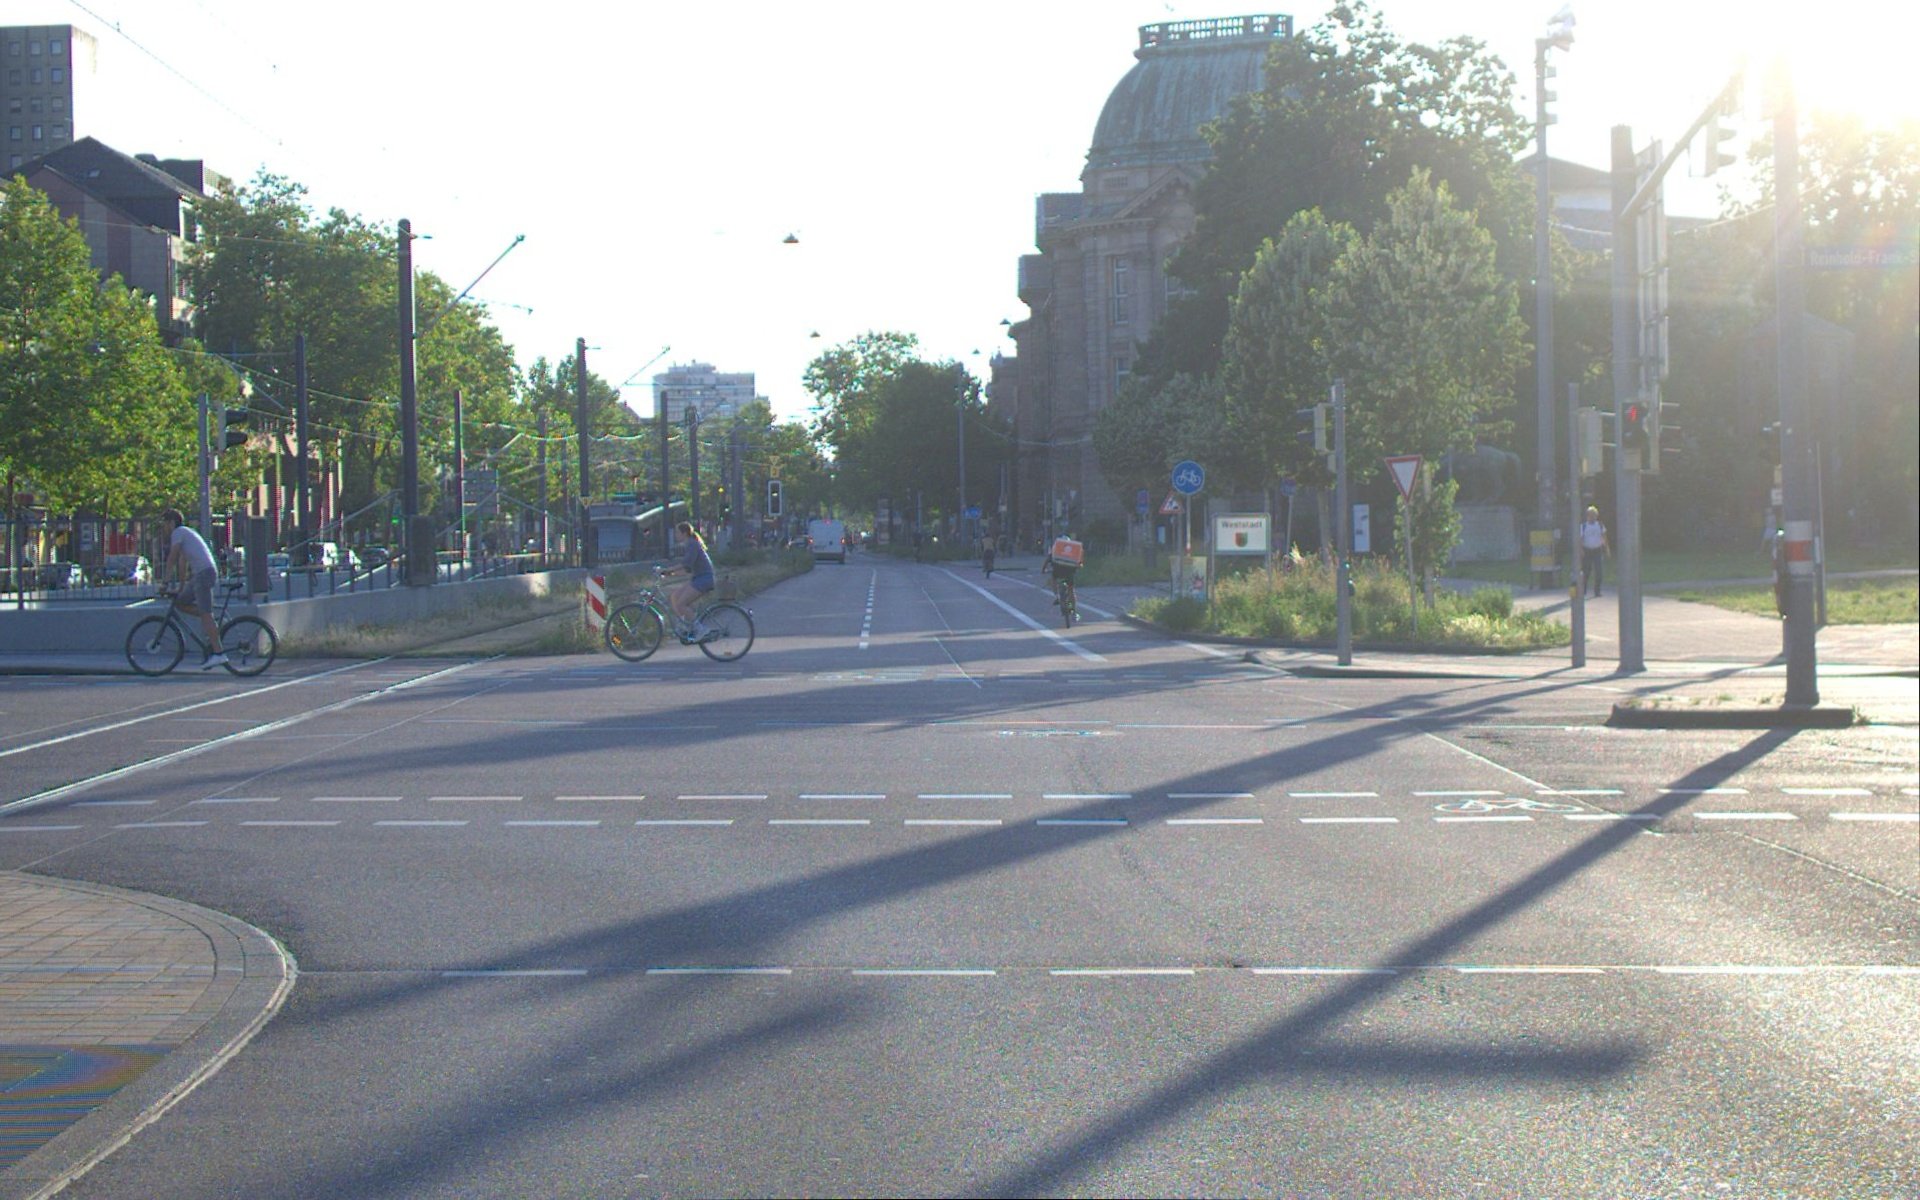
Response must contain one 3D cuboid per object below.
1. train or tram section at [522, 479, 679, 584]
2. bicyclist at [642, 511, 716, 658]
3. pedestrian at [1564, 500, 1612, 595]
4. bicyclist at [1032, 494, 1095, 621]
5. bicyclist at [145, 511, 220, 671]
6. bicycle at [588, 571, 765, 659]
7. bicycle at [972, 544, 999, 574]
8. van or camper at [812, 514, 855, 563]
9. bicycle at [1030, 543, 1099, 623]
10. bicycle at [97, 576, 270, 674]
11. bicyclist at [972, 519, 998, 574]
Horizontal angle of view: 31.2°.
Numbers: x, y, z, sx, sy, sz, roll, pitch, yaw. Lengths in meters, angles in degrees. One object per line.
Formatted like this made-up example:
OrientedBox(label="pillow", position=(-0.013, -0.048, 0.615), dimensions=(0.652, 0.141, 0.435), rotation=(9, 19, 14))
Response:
OrientedBox(label="train or tram section", position=(-14.636, -2.895, 141.089), dimensions=(4.387, 3.836, 11.410), rotation=(-1, 3, 4))
OrientedBox(label="bicyclist", position=(-3.497, -0.199, 42.762), dimensions=(0.876, 1.812, 0.538), rotation=(-1, 1, -2))
OrientedBox(label="pedestrian", position=(12.112, -1.014, 66.260), dimensions=(0.833, 1.797, 0.810), rotation=(-1, 1, 15))
OrientedBox(label="bicyclist", position=(1.866, -0.767, 61.924), dimensions=(1.082, 2.268, 0.986), rotation=(0, 1, -1))
OrientedBox(label="bicyclist", position=(-8.909, -0.111, 39.407), dimensions=(0.792, 1.812, 0.646), rotation=(-1, 1, -13))
OrientedBox(label="bicycle", position=(-3.516, 0.185, 42.770), dimensions=(2.163, 1.080, 0.539), rotation=(0, 0, -2))
OrientedBox(label="bicycle", position=(0.935, -1.517, 126.812), dimensions=(0.924, 1.108, 2.333), rotation=(-1, 1, -1))
OrientedBox(label="van or camper", position=(-7.316, -3.528, 198.284), dimensions=(2.449, 2.761, 5.601), rotation=(-1, 1, -2))
OrientedBox(label="bicycle", position=(1.870, -0.326, 61.978), dimensions=(1.098, 1.394, 2.832), rotation=(-1, 1, -1))
OrientedBox(label="bicycle", position=(-8.897, 0.283, 39.430), dimensions=(1.900, 1.071, 0.632), rotation=(-1, 1, -13))
OrientedBox(label="bicyclist", position=(0.925, -1.978, 126.789), dimensions=(0.925, 2.007, 0.850), rotation=(-1, 1, -1))
